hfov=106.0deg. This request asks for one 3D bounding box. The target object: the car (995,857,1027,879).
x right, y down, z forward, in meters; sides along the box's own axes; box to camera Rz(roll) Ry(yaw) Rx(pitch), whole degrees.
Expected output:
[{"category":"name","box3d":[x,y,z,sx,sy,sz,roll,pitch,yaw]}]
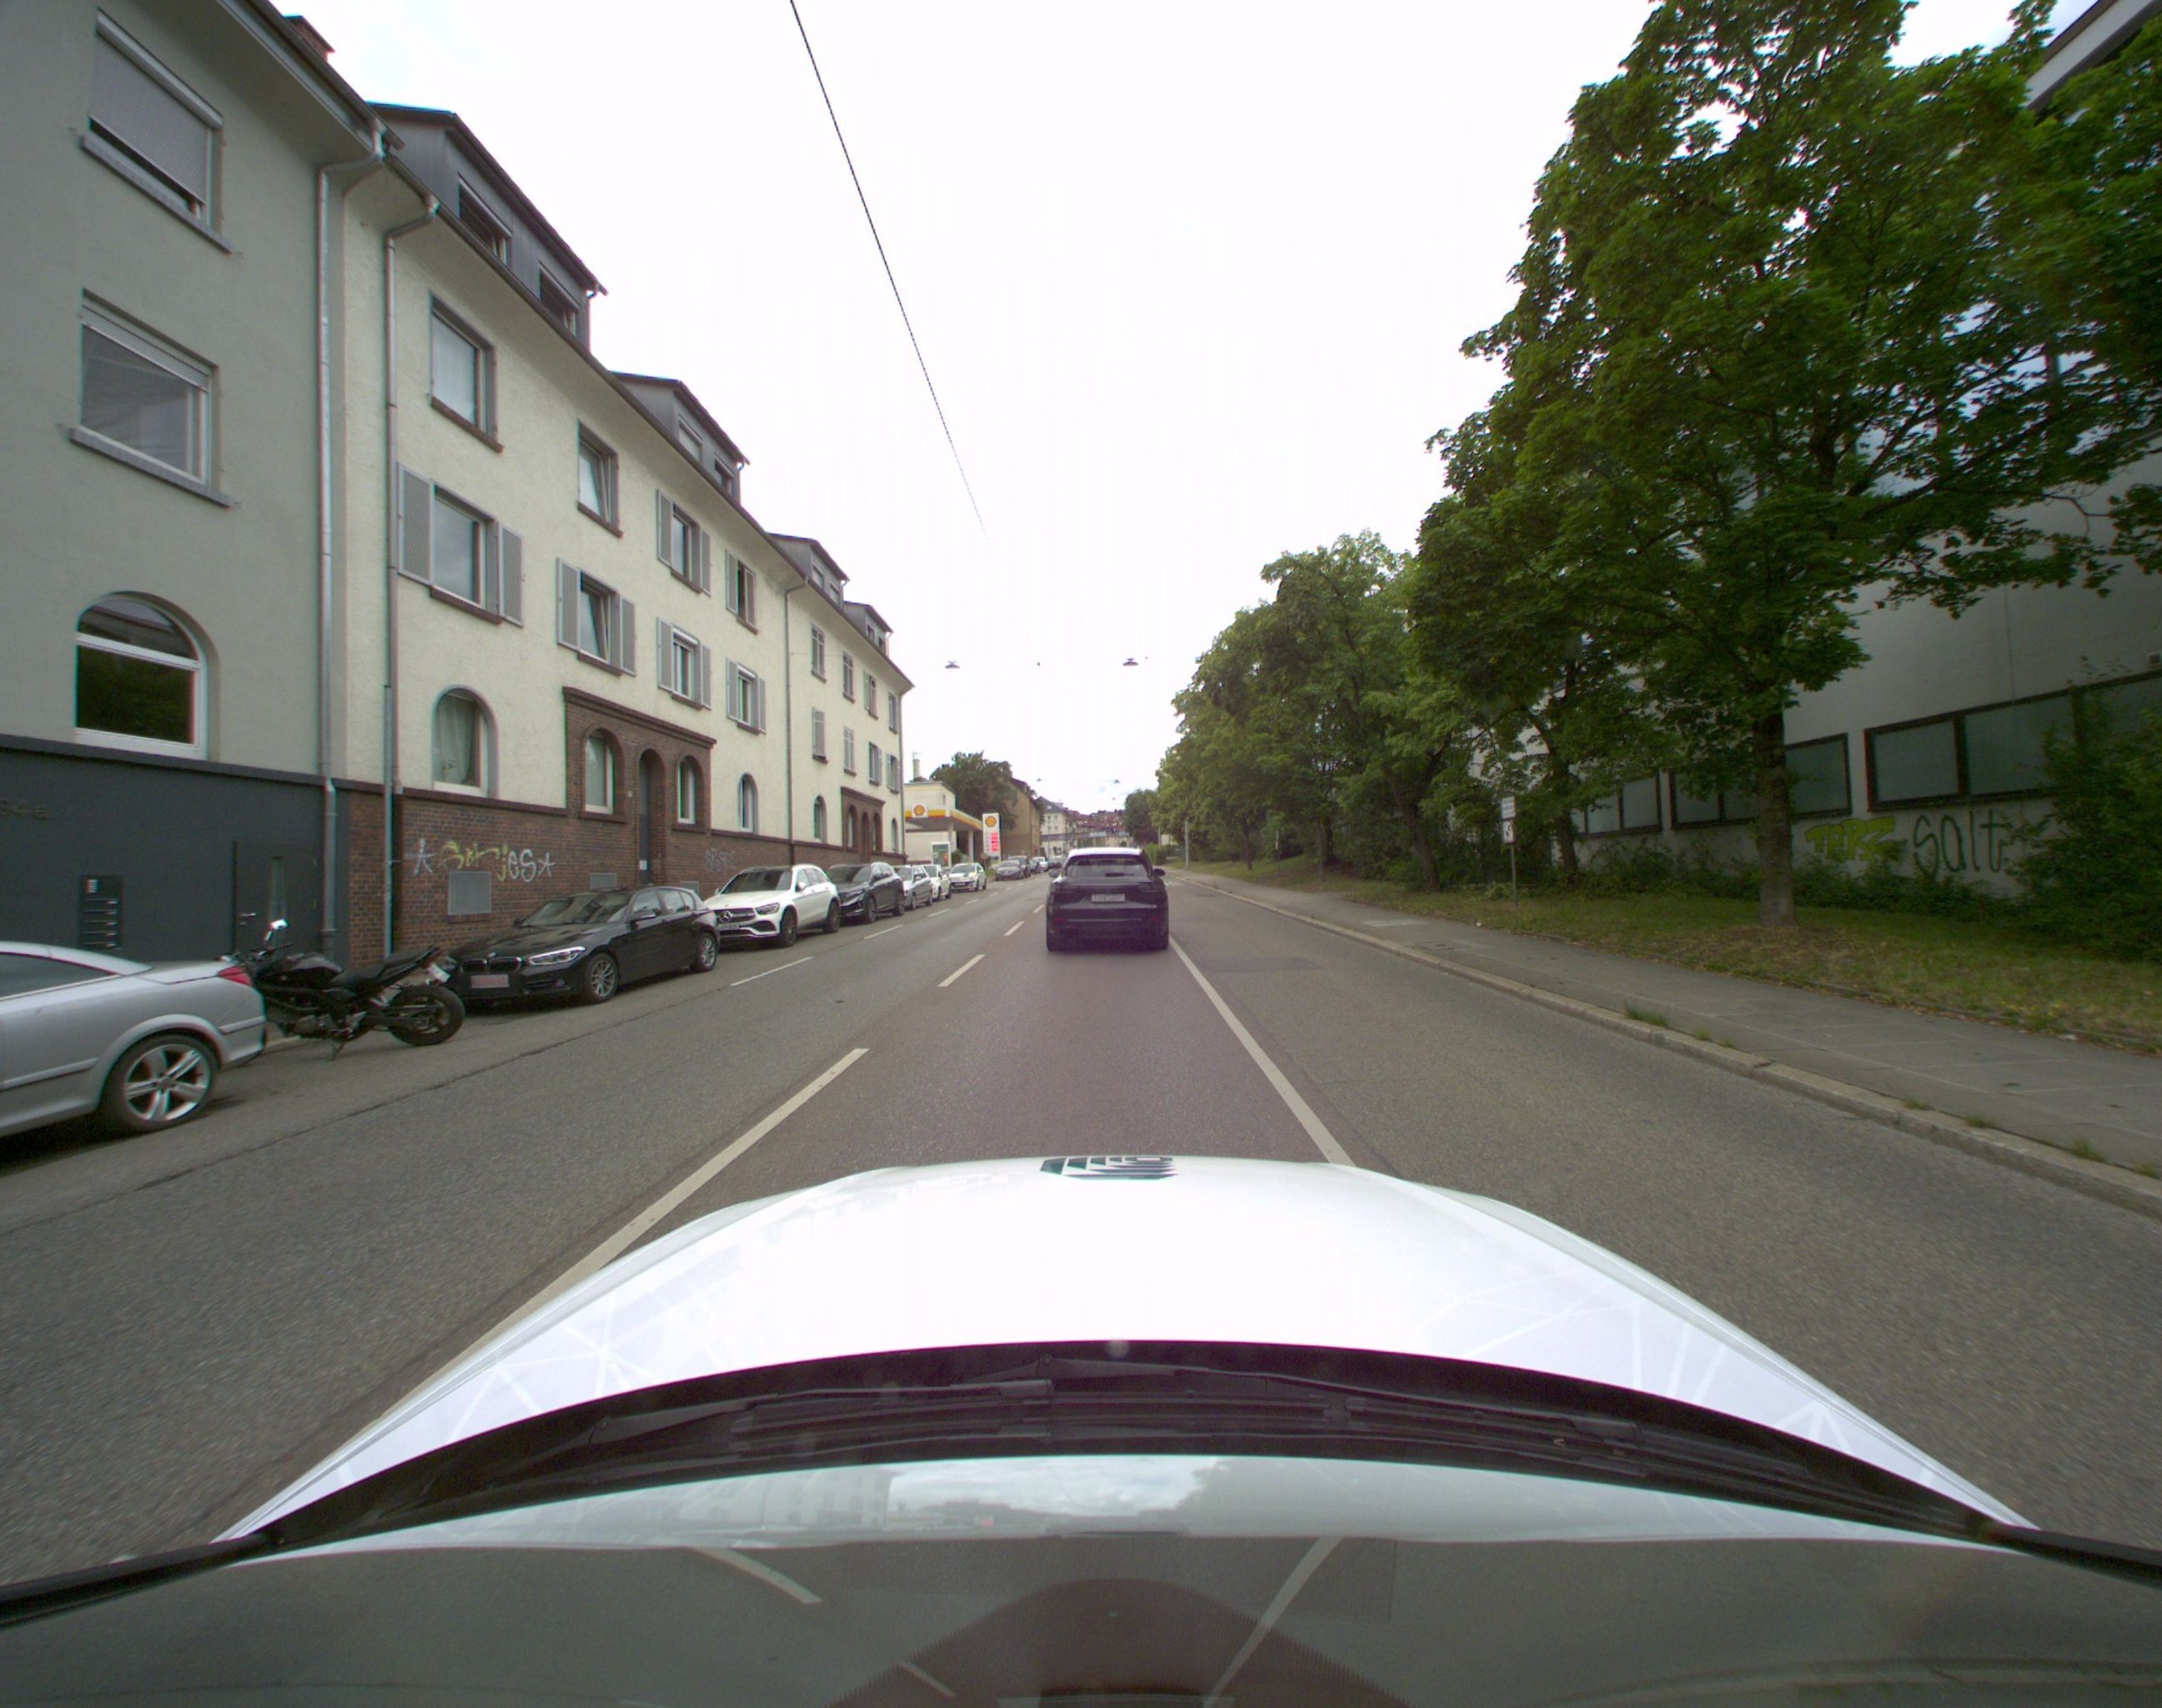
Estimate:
[{"category":"car","box3d":[-5.183,1.031,60.473,1.784,1.450,4.220,-3,0,2]}]

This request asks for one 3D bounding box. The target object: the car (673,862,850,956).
[{"category":"car","box3d":[-6.654,1.063,17.600,1.839,1.621,4.644,-3,0,1]}]

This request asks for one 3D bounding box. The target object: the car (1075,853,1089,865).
[{"category":"car","box3d":[0.204,0.682,116.723,1.791,1.525,4.002,-3,0,2]}]

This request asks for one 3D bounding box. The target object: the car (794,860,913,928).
[{"category":"car","box3d":[-6.187,1.020,22.758,1.719,1.599,4.506,-3,0,4]}]

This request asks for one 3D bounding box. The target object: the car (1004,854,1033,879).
[{"category":"car","box3d":[-5.059,0.992,66.343,1.845,1.835,4.701,-3,0,0]}]

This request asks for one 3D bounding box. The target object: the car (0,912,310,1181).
[{"category":"car","box3d":[-6.942,1.187,4.195,1.721,1.374,4.337,-3,0,0]}]

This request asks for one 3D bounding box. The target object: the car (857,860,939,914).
[{"category":"car","box3d":[-6.208,1.067,28.071,1.721,1.558,4.082,-5,0,1]}]

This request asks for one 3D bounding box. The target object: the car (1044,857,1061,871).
[{"category":"car","box3d":[-3.786,1.293,108.528,1.775,1.609,4.268,-4,0,3]}]

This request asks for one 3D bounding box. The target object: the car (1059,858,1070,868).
[{"category":"car","box3d":[-2.830,1.539,138.832,1.740,1.568,3.907,-4,-1,0]}]

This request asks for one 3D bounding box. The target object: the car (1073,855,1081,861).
[{"category":"car","box3d":[-0.986,1.192,216.503,1.758,1.508,4.002,-2,-1,2]}]

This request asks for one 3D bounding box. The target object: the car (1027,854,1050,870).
[{"category":"car","box3d":[-4.490,0.857,86.764,1.908,1.577,4.702,-3,0,2]}]

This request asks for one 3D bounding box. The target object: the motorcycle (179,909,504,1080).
[{"category":"motorcycle","box3d":[-6.846,1.256,7.692,2.045,1.235,0.803,-4,0,-17]}]

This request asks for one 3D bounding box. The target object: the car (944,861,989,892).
[{"category":"car","box3d":[-5.915,1.135,42.387,1.613,1.425,3.667,-3,0,2]}]

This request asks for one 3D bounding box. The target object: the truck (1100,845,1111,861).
[{"category":"truck","box3d":[5.670,-0.195,189.544,2.258,3.424,9.881,-2,-1,2]}]

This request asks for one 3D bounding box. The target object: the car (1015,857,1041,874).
[{"category":"car","box3d":[-5.016,1.056,77.471,1.790,1.431,4.748,-3,0,4]}]

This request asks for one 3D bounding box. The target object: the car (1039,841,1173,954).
[{"category":"car","box3d":[0.448,0.646,14.315,1.986,1.662,4.002,-1,0,2]}]

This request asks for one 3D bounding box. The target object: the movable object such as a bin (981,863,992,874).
[{"category":"movable object such as a bin","box3d":[-12.358,1.846,106.477,1.388,1.428,0.913,-1,0,-1]}]

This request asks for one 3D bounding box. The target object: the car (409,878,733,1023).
[{"category":"car","box3d":[-6.693,1.159,11.351,1.720,1.429,4.193,-3,0,1]}]

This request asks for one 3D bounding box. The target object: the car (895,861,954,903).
[{"category":"car","box3d":[-6.265,1.089,33.024,1.542,1.475,3.605,-3,0,1]}]
